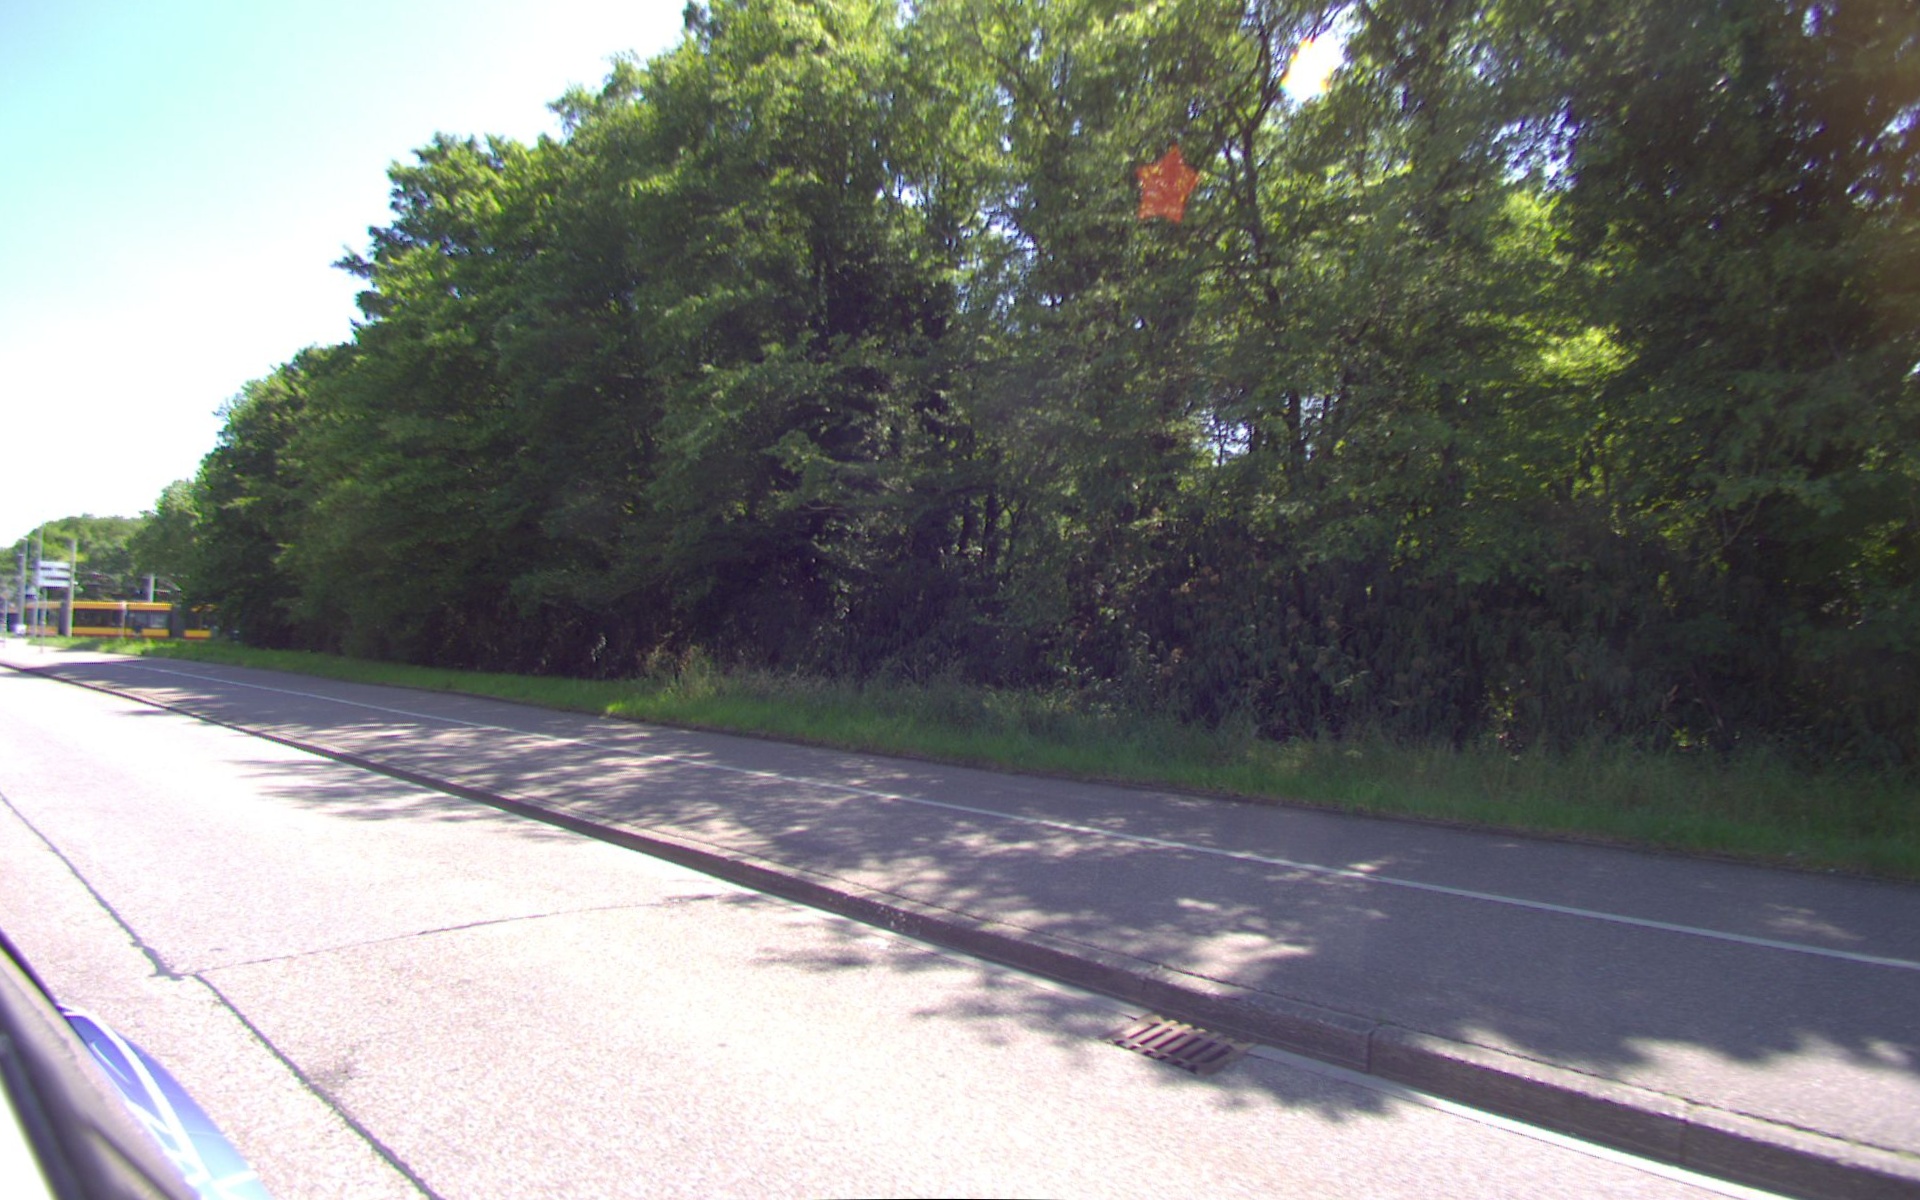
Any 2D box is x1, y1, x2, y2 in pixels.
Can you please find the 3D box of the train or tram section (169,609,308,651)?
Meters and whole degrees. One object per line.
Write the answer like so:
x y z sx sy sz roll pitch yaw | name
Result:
-61.592 2.597 86.602 9.192 3.492 2.791 1 -2 -17 | train or tram section

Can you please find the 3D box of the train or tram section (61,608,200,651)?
-70.579 2.502 86.108 10.730 3.492 2.644 0 -2 9 | train or tram section

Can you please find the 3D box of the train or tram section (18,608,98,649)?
-80.176 2.513 89.844 10.824 3.492 2.550 -1 -3 34 | train or tram section
